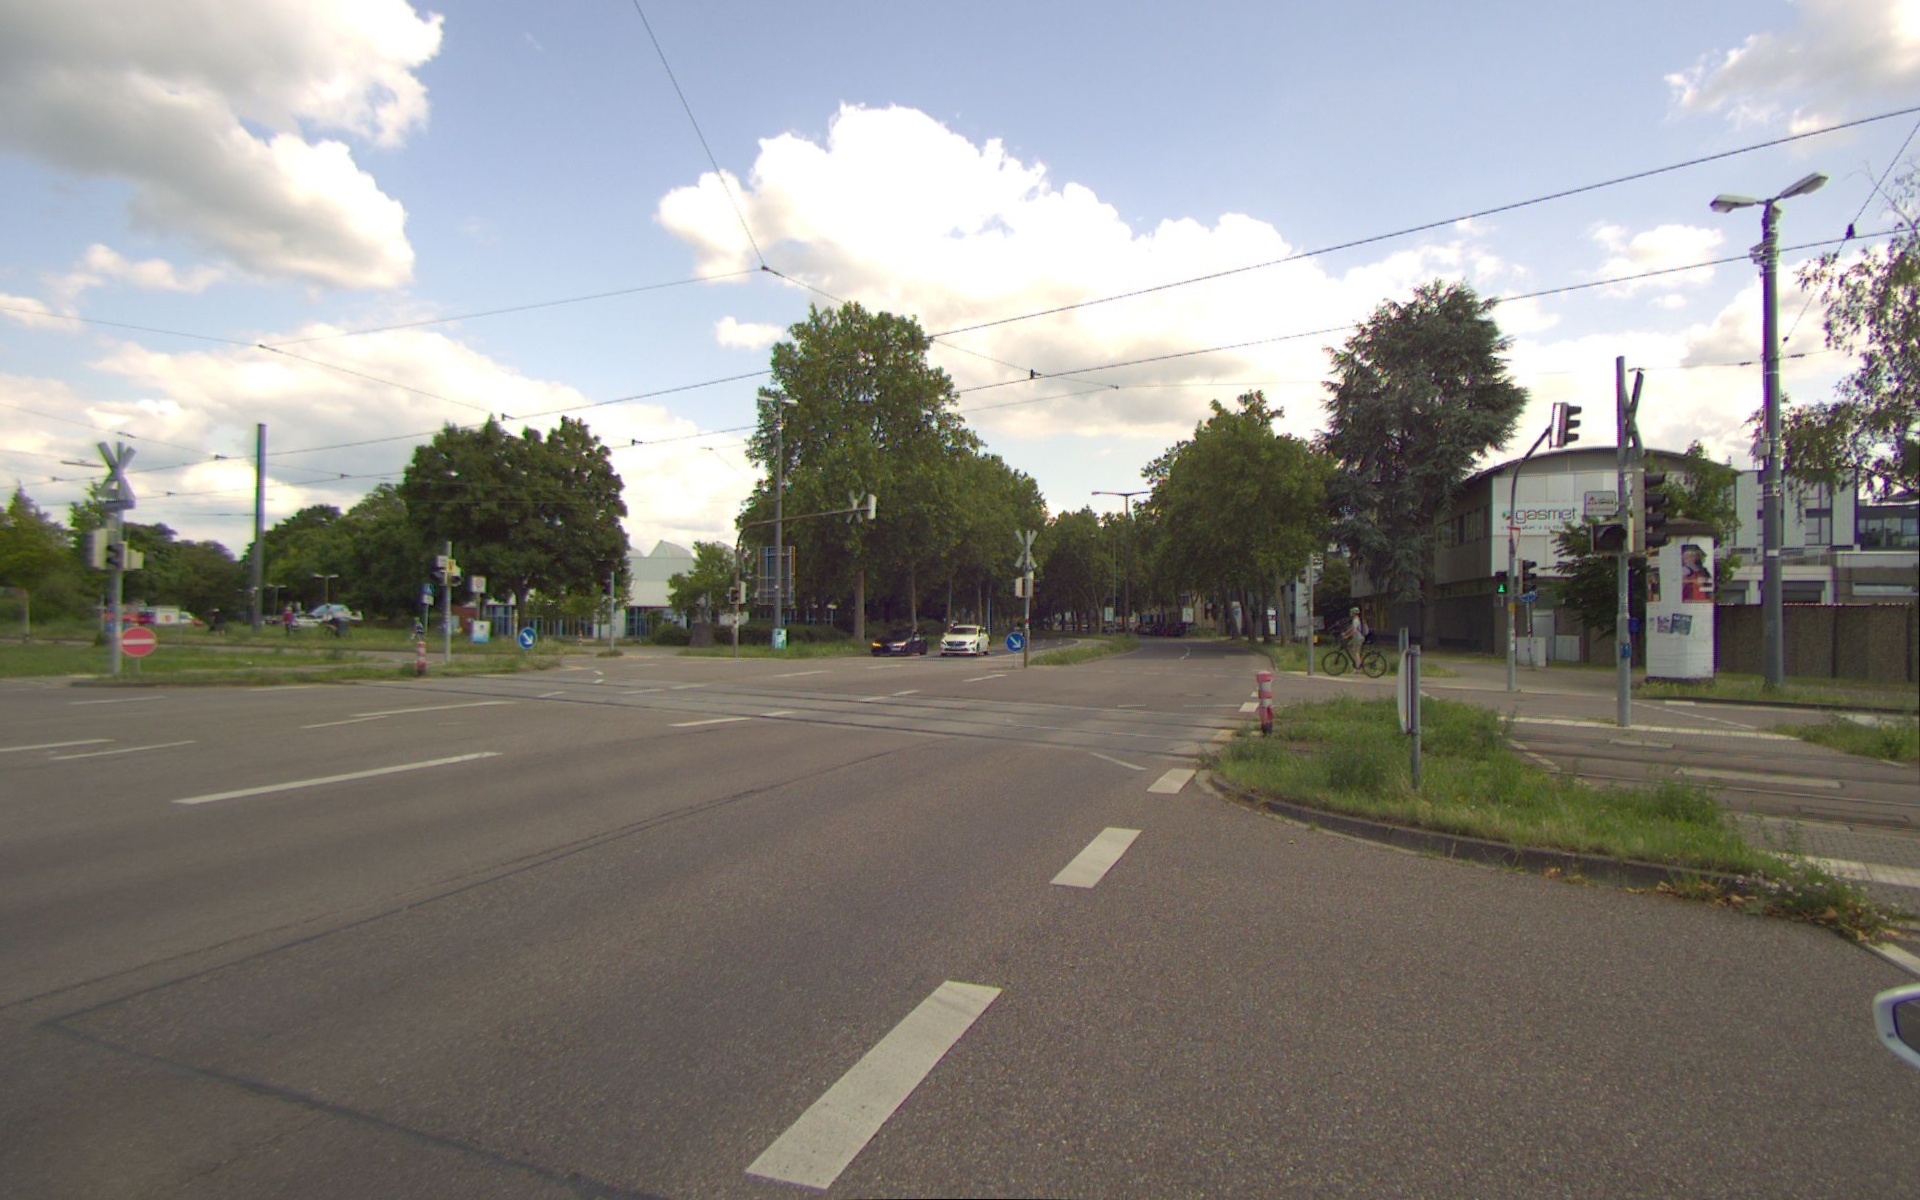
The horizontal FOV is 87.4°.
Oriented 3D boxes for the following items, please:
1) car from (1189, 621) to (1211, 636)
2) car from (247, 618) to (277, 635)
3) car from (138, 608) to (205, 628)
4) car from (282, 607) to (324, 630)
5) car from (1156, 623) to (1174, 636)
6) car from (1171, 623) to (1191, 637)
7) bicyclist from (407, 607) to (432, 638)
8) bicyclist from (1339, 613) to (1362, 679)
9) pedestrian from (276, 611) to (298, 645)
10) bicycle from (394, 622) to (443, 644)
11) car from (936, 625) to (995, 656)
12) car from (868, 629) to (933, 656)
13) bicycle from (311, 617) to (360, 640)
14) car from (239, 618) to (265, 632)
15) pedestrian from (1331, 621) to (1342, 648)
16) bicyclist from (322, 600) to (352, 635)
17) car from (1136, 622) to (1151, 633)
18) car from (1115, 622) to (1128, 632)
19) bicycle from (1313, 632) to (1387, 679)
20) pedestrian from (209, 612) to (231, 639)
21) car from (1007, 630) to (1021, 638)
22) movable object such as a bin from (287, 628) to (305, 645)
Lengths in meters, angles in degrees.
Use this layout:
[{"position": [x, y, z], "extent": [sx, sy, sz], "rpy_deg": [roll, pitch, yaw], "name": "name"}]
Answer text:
[{"position": [28.049, 3.337, 117.558], "extent": [1.960, 1.595, 4.001], "rpy_deg": [0, 1, 5], "name": "car"}, {"position": [-69.036, 2.583, 99.344], "extent": [1.985, 1.661, 4.337], "rpy_deg": [2, -2, -41], "name": "car"}, {"position": [-61.739, 1.428, 78.660], "extent": [3.970, 1.550, 1.976], "rpy_deg": [2, -2, -42], "name": "car"}, {"position": [-49.109, 1.414, 75.069], "extent": [1.985, 1.661, 4.337], "rpy_deg": [2, -2, -41], "name": "car"}, {"position": [28.153, 3.998, 137.861], "extent": [1.960, 1.595, 4.001], "rpy_deg": [0, 1, 5], "name": "car"}, {"position": [28.450, 3.873, 129.405], "extent": [1.960, 1.595, 4.001], "rpy_deg": [0, 1, 5], "name": "car"}, {"position": [-26.978, 1.137, 50.125], "extent": [0.821, 1.509, 0.961], "rpy_deg": [1, -1, -11], "name": "bicyclist"}, {"position": [11.075, 1.299, 28.460], "extent": [0.535, 1.834, 0.540], "rpy_deg": [0, 1, 30], "name": "bicyclist"}, {"position": [-33.250, 1.370, 49.649], "extent": [0.625, 1.666, 0.613], "rpy_deg": [0, 1, 9], "name": "pedestrian"}, {"position": [-27.003, 1.643, 50.119], "extent": [1.949, 1.054, 0.950], "rpy_deg": [1, -1, -11], "name": "bicycle"}, {"position": [0.320, 1.875, 47.790], "extent": [1.794, 1.382, 4.140], "rpy_deg": [0, -1, 15], "name": "car"}, {"position": [-2.803, 2.005, 47.988], "extent": [1.608, 1.207, 3.706], "rpy_deg": [0, -1, 23], "name": "car"}, {"position": [-31.721, 1.443, 51.046], "extent": [1.944, 1.169, 0.952], "rpy_deg": [0, -1, 10], "name": "bicycle"}, {"position": [-81.545, 2.873, 115.685], "extent": [1.985, 1.661, 4.337], "rpy_deg": [2, -2, -41], "name": "car"}, {"position": [22.836, 2.079, 60.951], "extent": [0.610, 1.590, 0.559], "rpy_deg": [0, 1, 16], "name": "pedestrian"}, {"position": [-31.652, 0.893, 51.041], "extent": [0.819, 1.745, 0.964], "rpy_deg": [1, -1, 10], "name": "bicyclist"}, {"position": [30.009, 4.497, 164.161], "extent": [1.960, 1.595, 4.001], "rpy_deg": [0, 1, 5], "name": "car"}, {"position": [28.604, 4.840, 177.994], "extent": [1.960, 1.595, 4.001], "rpy_deg": [0, 1, 5], "name": "car"}, {"position": [11.092, 1.572, 28.586], "extent": [1.917, 1.252, 0.540], "rpy_deg": [0, 1, 30], "name": "bicycle"}, {"position": [-39.208, 1.343, 53.202], "extent": [0.738, 1.372, 0.651], "rpy_deg": [0, 1, 23], "name": "pedestrian"}, {"position": [8.096, 5.057, 150.354], "extent": [1.608, 1.207, 3.707], "rpy_deg": [1, -1, -3], "name": "car"}, {"position": [-32.760, 1.785, 49.579], "extent": [0.450, 0.822, 0.579], "rpy_deg": [0, 1, 9], "name": "movable object such as a bin"}]
